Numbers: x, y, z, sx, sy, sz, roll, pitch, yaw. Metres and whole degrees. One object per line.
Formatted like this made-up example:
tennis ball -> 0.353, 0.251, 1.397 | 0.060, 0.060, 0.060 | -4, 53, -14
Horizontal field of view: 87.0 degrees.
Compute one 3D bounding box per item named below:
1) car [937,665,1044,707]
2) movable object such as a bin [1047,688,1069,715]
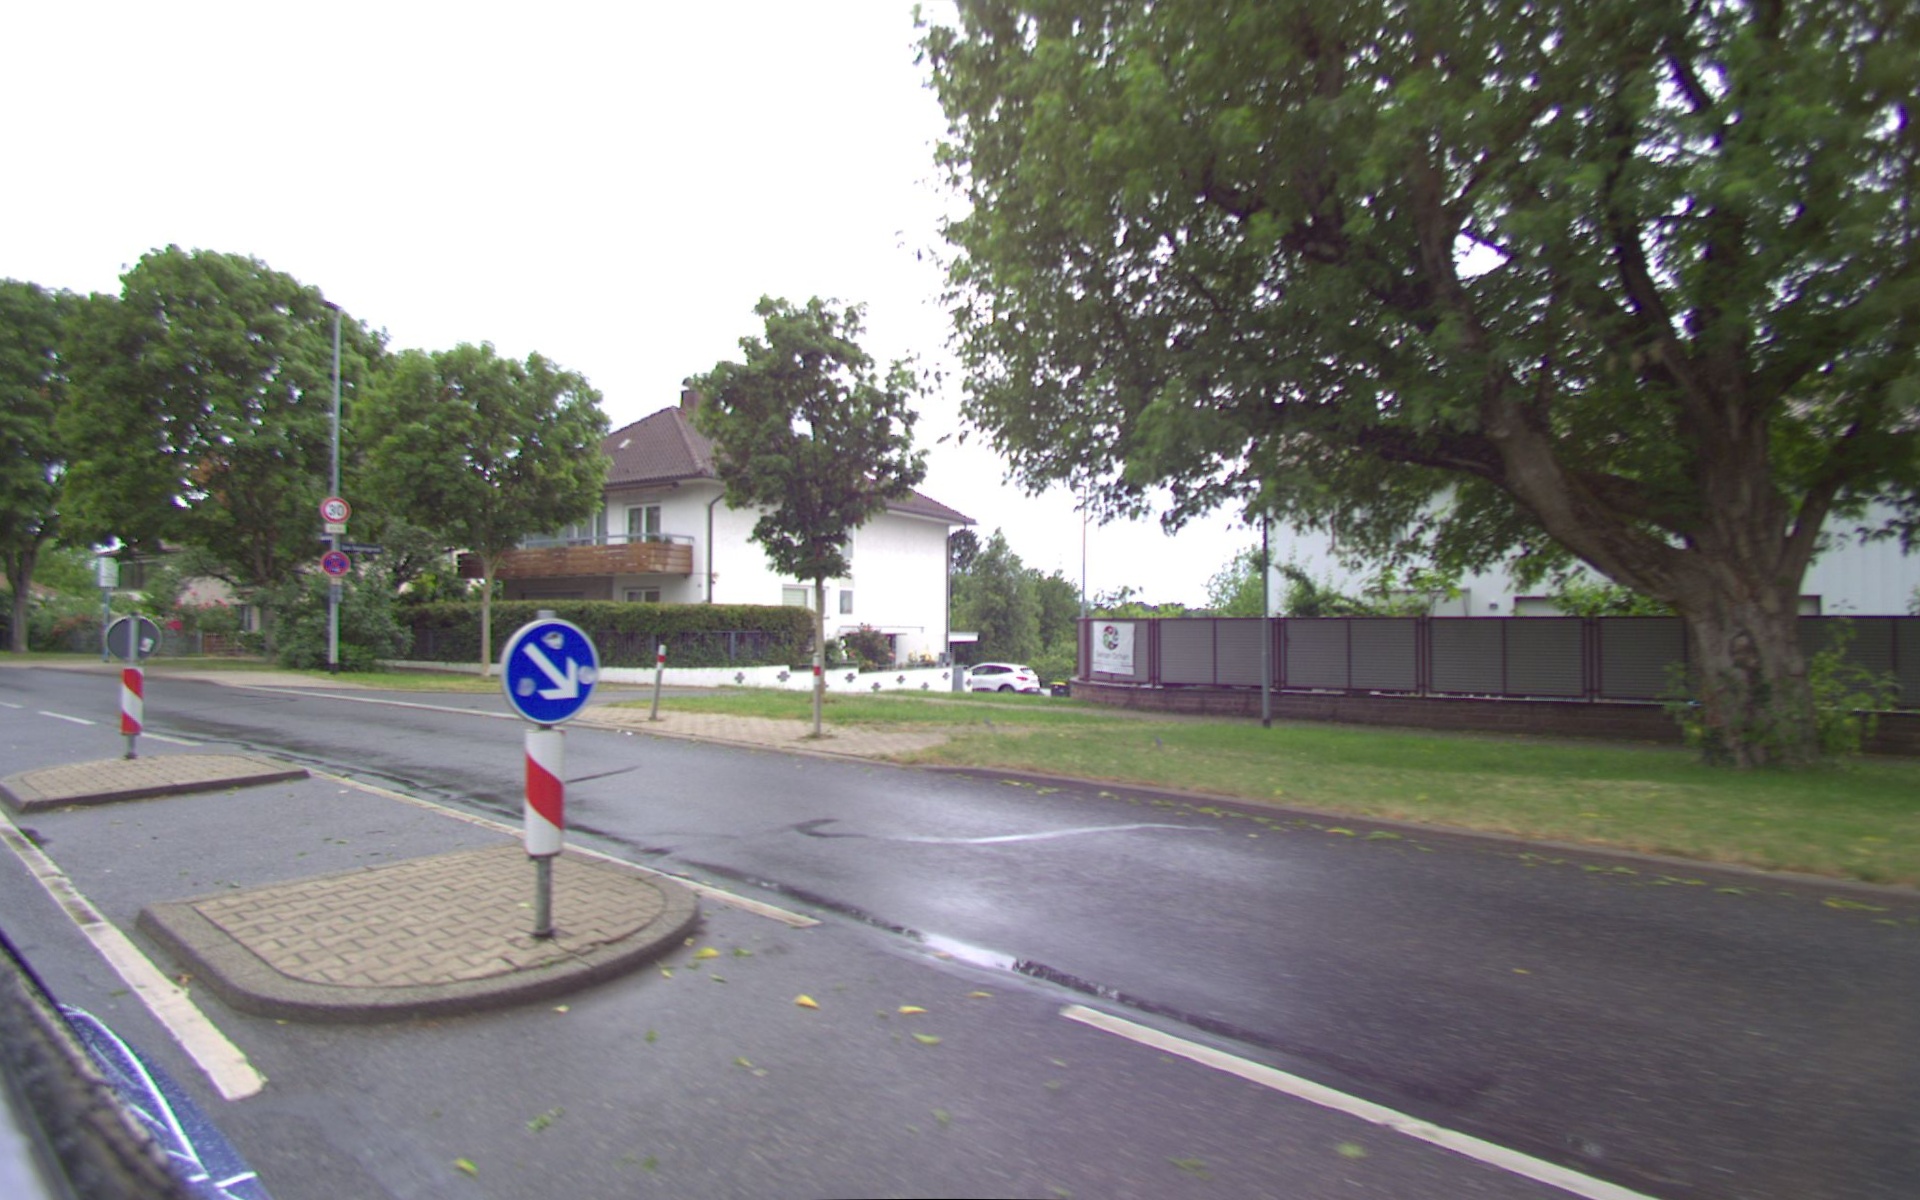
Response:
car -> 1.257, 3.535, 42.102 | 4.036, 1.519, 1.978 | -1, -2, 32
movable object such as a bin -> 3.795, 3.906, 39.117 | 0.651, 0.987, 0.584 | -1, -2, 33
